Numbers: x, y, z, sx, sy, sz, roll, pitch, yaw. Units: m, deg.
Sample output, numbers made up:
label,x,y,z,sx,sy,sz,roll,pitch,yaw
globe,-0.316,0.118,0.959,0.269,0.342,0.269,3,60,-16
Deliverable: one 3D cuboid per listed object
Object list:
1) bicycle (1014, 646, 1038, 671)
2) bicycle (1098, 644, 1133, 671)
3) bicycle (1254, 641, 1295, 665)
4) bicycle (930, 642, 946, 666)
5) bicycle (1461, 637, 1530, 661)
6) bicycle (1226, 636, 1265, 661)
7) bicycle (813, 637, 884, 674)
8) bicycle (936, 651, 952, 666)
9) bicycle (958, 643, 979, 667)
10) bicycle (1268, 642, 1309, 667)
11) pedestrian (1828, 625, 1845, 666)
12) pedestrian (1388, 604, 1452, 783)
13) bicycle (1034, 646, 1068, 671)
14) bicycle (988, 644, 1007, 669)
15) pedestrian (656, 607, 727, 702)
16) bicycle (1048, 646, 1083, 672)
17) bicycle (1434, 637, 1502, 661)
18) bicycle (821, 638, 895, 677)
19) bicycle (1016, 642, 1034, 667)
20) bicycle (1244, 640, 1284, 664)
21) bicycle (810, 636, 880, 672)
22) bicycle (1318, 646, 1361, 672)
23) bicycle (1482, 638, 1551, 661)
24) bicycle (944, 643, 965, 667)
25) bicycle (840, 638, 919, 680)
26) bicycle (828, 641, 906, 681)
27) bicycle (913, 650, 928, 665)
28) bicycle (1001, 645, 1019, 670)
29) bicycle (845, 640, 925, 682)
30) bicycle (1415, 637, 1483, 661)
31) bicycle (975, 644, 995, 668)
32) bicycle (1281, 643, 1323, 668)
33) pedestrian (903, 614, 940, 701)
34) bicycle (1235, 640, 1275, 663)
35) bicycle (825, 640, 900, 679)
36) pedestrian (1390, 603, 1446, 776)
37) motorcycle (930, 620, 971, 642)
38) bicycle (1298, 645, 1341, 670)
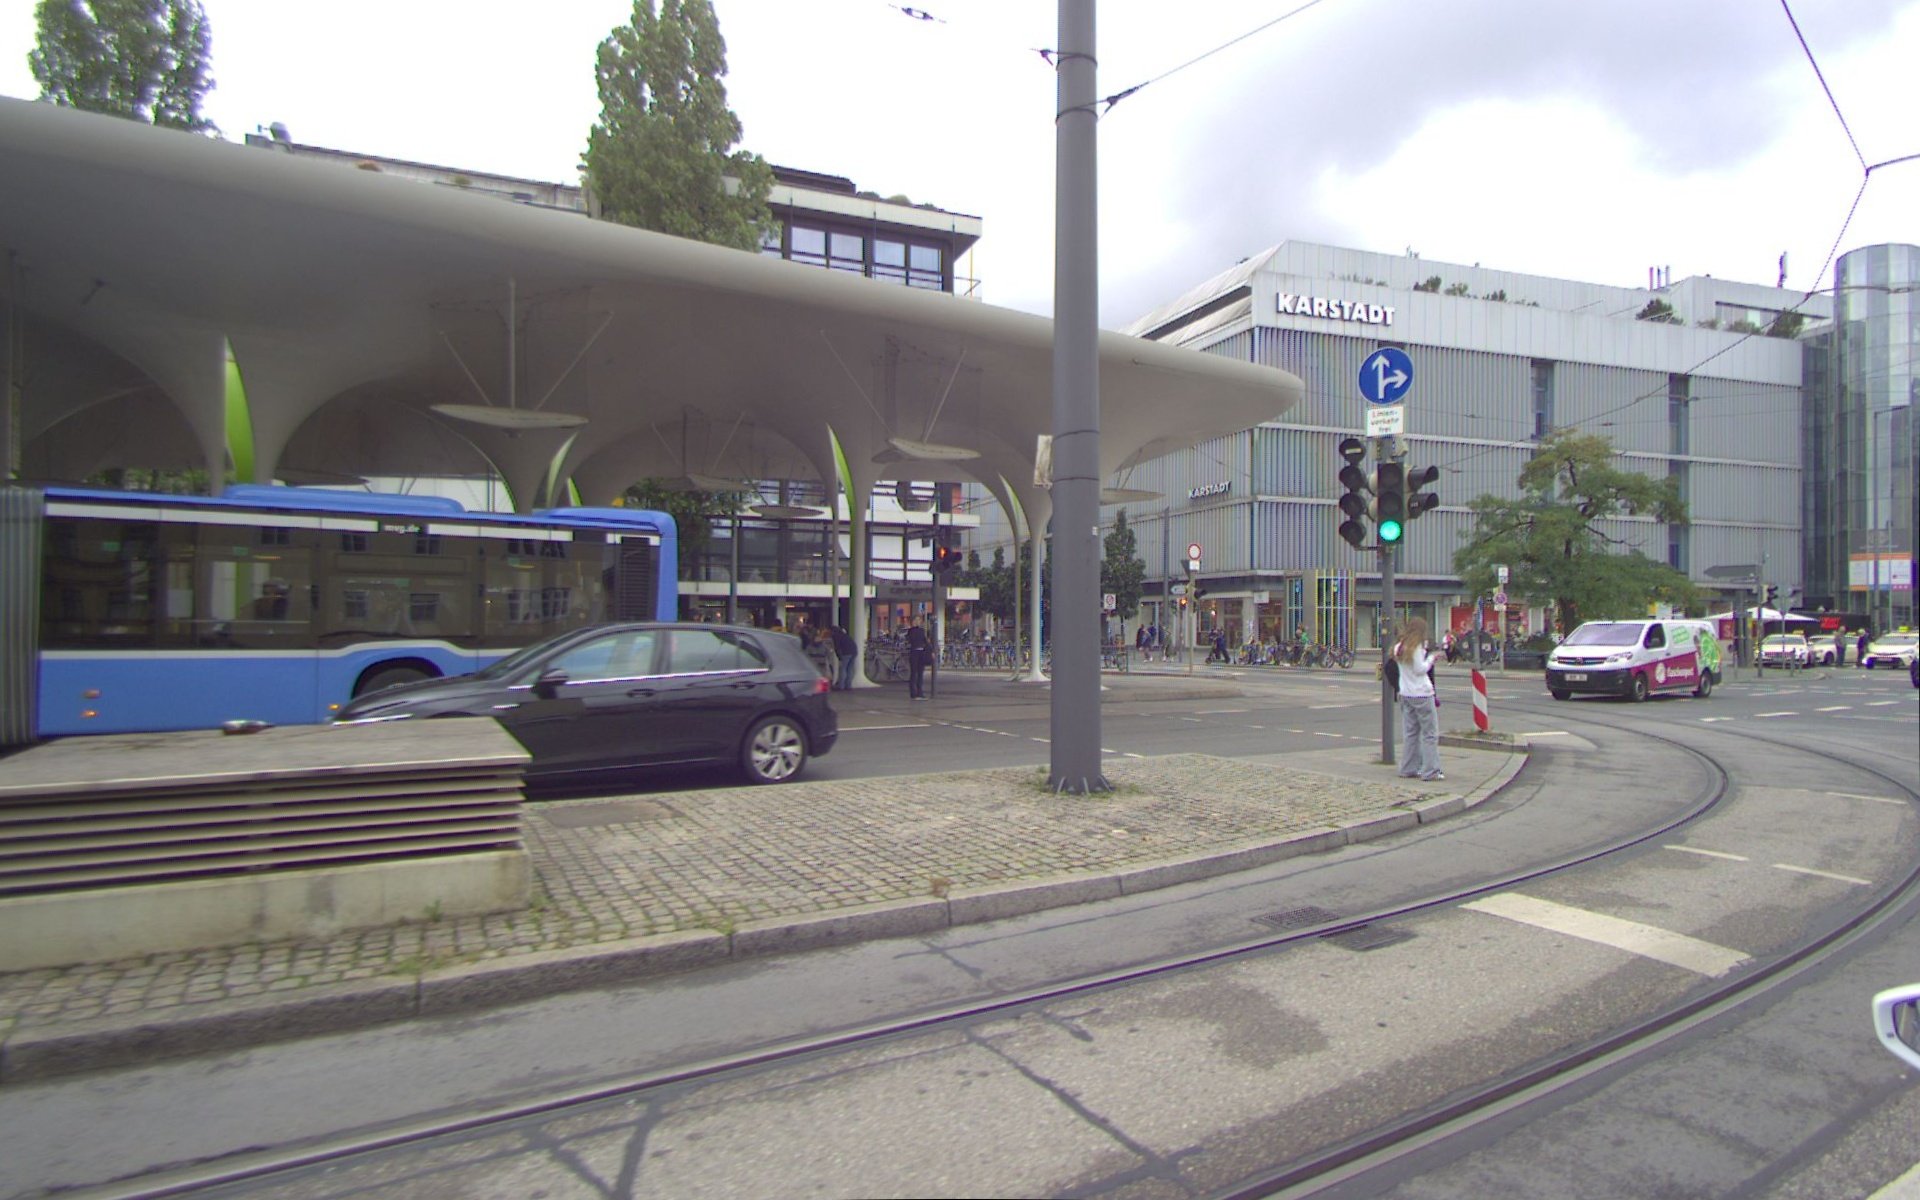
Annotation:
label,x,y,z,sx,sy,sz,roll,pitch,yaw
bicycle,2.595,2.271,39.416,0.446,0.952,1.731,0,-2,20
bicycle,5.831,2.153,37.592,0.448,0.952,1.723,-1,-3,39
bicycle,13.973,2.368,44.633,1.962,1.011,0.524,3,-2,-30
bicycle,-0.870,2.175,40.461,0.446,0.952,1.732,1,-2,5
bicycle,27.933,2.564,52.535,1.042,1.172,3.493,1,-2,-16
bicycle,13.142,2.229,46.275,1.871,1.126,0.582,3,-2,-30
bicycle,-3.526,1.755,31.798,2.149,1.133,0.652,1,-1,-20
bicycle,-0.734,2.672,45.927,0.357,0.641,1.630,0,-2,-15
bicycle,0.335,2.207,40.365,0.446,0.952,1.732,0,-2,14
bicycle,14.345,2.383,43.848,1.962,1.011,0.524,3,-2,-30
pedestrian,38.981,2.024,44.691,0.350,1.783,0.445,0,-1,-19
pedestrian,4.353,0.860,9.524,0.454,1.640,0.522,0,-1,14
bicycle,3.516,2.258,38.716,0.448,0.952,1.724,-1,-3,38
bicycle,1.488,2.239,39.967,0.446,0.952,1.732,1,-2,12
pedestrian,-4.974,0.995,18.647,0.956,1.703,0.840,0,-1,31
bicycle,4.068,2.272,38.680,0.448,0.952,1.723,-1,-3,40
bicycle,26.228,2.526,51.981,1.042,1.172,3.493,1,-2,-16
bicycle,-3.086,1.739,30.435,2.149,1.133,0.652,1,-1,-20
bicycle,3.043,2.529,46.729,0.421,1.088,1.635,0,-2,18
bicycle,13.675,2.357,45.149,1.962,1.011,0.524,3,-2,-30
bicycle,-3.708,1.745,32.435,2.149,1.133,0.652,1,-1,-20
bicycle,15.552,2.434,41.124,1.962,1.011,0.524,3,-2,-30
bicycle,29.302,2.595,52.985,1.042,1.172,3.493,1,-2,-16
bicycle,-0.208,2.194,40.224,0.446,0.952,1.732,0,-2,14
bicycle,-2.277,1.667,28.514,2.133,1.139,0.640,1,-1,-21
bicycle,-2.688,1.759,29.097,2.149,1.133,0.652,1,-1,-20
bicycle,-1.797,2.587,45.540,0.357,0.641,1.630,0,-2,-15
bicycle,1.978,2.254,39.592,0.446,0.952,1.732,1,-2,12
bicycle,-2.070,1.677,27.837,2.133,1.139,0.640,1,-1,-21
bicycle,25.071,2.500,51.600,1.042,1.172,3.493,1,-2,-16
bicycle,1.009,2.225,40.209,0.446,0.952,1.732,1,-2,12
bicycle,14.698,2.397,43.151,1.962,1.011,0.524,3,-2,-30
pedestrian,-0.793,1.167,20.561,0.606,1.743,0.546,1,-1,-22
bicycle,13.433,2.346,45.732,1.962,1.011,0.524,3,-2,-30
bicycle,-2.885,1.749,29.752,2.149,1.133,0.652,1,-1,-20
pedestrian,4.517,0.862,9.901,0.478,1.640,0.557,0,-1,26
motorcycle,-0.944,3.053,99.328,3.860,2.188,1.173,1,-1,-7
bicycle,15.114,2.415,42.209,1.962,1.011,0.524,3,-2,-30
